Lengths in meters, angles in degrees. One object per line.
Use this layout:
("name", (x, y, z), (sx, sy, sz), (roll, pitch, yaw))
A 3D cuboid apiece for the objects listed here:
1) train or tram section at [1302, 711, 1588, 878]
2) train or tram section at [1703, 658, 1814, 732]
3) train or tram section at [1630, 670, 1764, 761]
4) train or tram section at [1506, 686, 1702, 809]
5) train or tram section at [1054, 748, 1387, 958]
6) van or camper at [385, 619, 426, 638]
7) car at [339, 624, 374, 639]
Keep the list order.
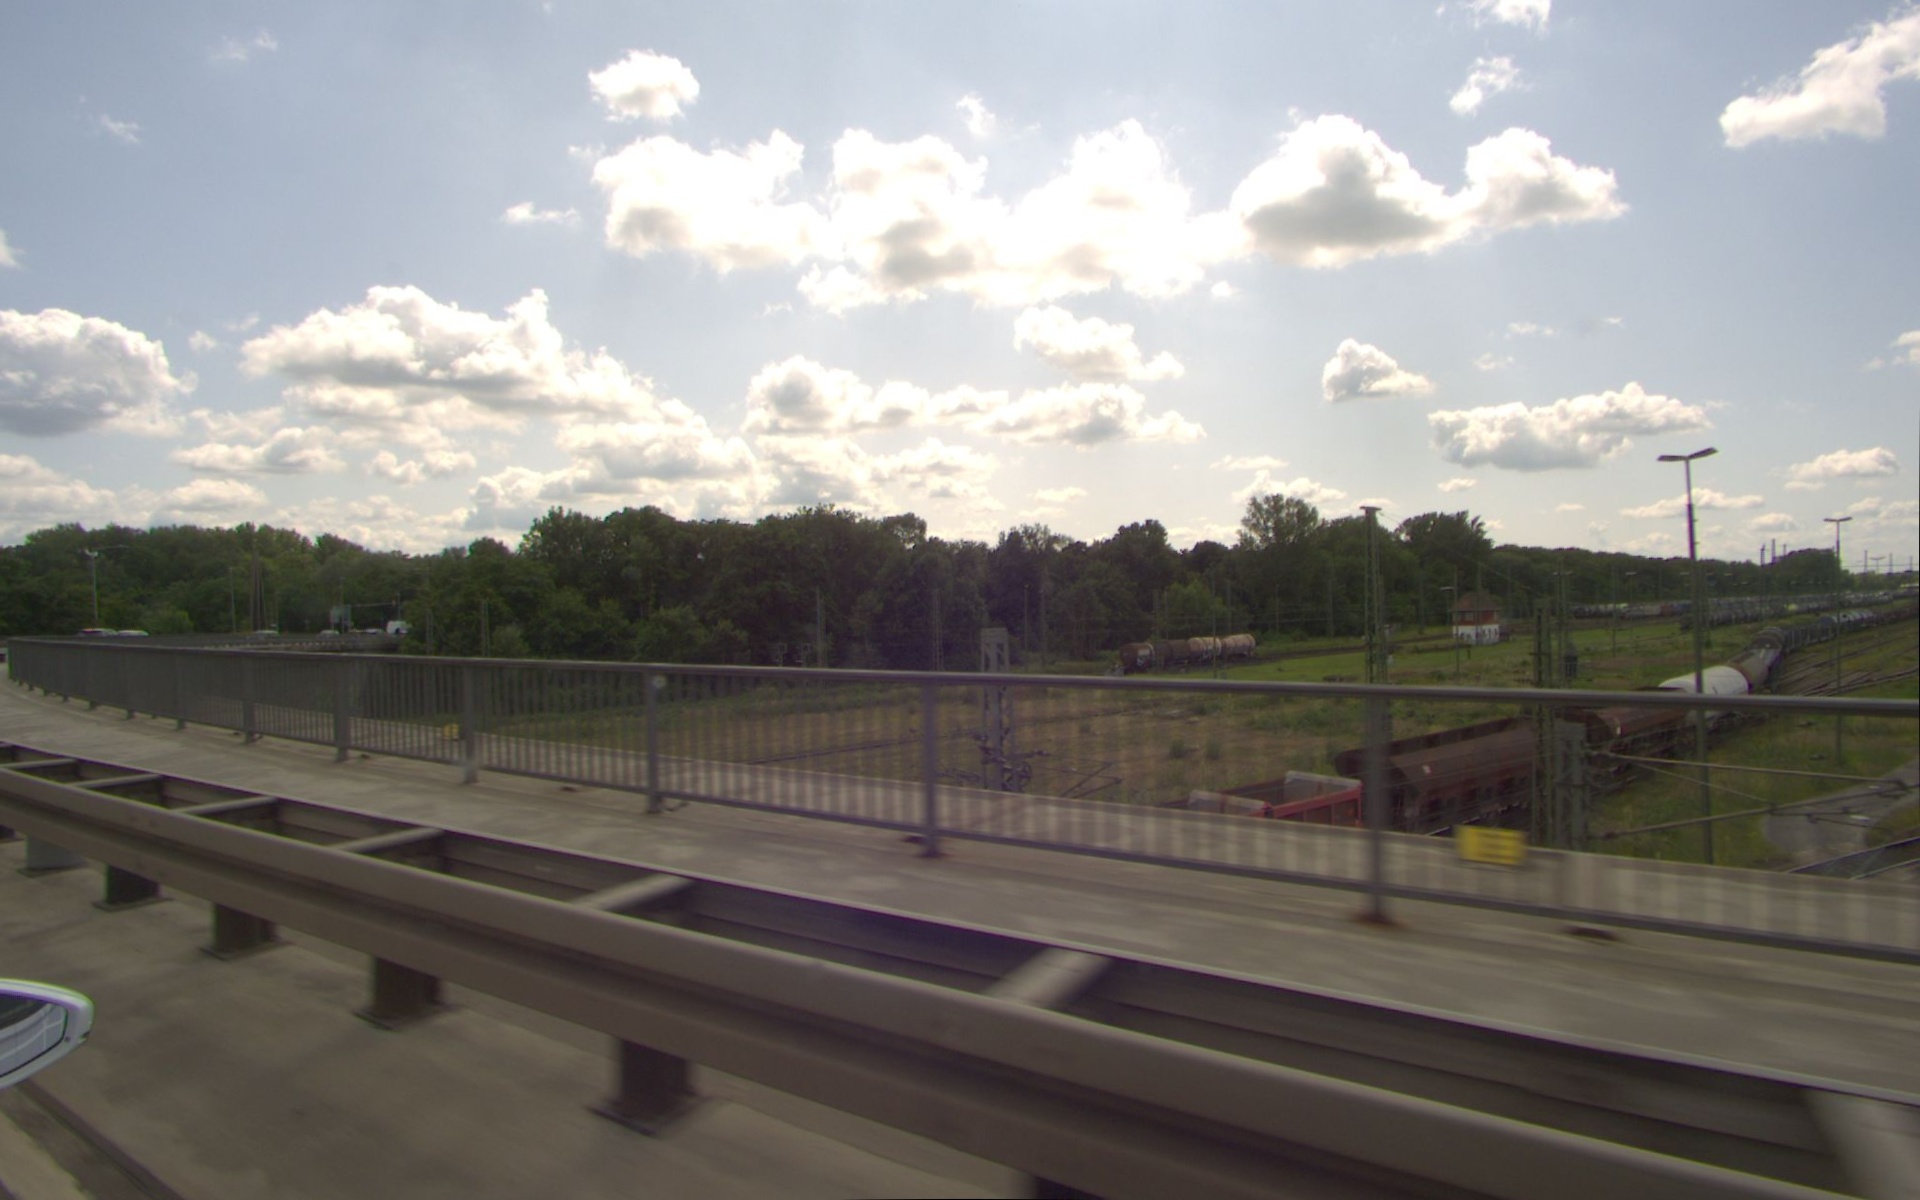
("train or tram section", (19.902, 7.244, 39.994), (16.407, 4.204, 3.120), (-1, -3, -38))
("train or tram section", (59.681, 6.858, 74.531), (17.504, 4.204, 3.187), (-1, -3, -41))
("train or tram section", (46.739, 6.979, 63.107), (16.781, 4.204, 3.192), (-1, -3, -42))
("train or tram section", (33.461, 7.095, 51.283), (18.692, 4.204, 3.195), (-1, -3, -41))
("train or tram section", (8.536, 7.410, 31.382), (11.915, 4.204, 3.110), (-1, -3, -36))
("van or camper", (-71.447, 3.683, 129.096), (2.235, 2.370, 5.243), (1, -2, 1))
("car", (-67.623, 3.546, 112.279), (1.705, 1.673, 3.857), (0, -2, -4))
